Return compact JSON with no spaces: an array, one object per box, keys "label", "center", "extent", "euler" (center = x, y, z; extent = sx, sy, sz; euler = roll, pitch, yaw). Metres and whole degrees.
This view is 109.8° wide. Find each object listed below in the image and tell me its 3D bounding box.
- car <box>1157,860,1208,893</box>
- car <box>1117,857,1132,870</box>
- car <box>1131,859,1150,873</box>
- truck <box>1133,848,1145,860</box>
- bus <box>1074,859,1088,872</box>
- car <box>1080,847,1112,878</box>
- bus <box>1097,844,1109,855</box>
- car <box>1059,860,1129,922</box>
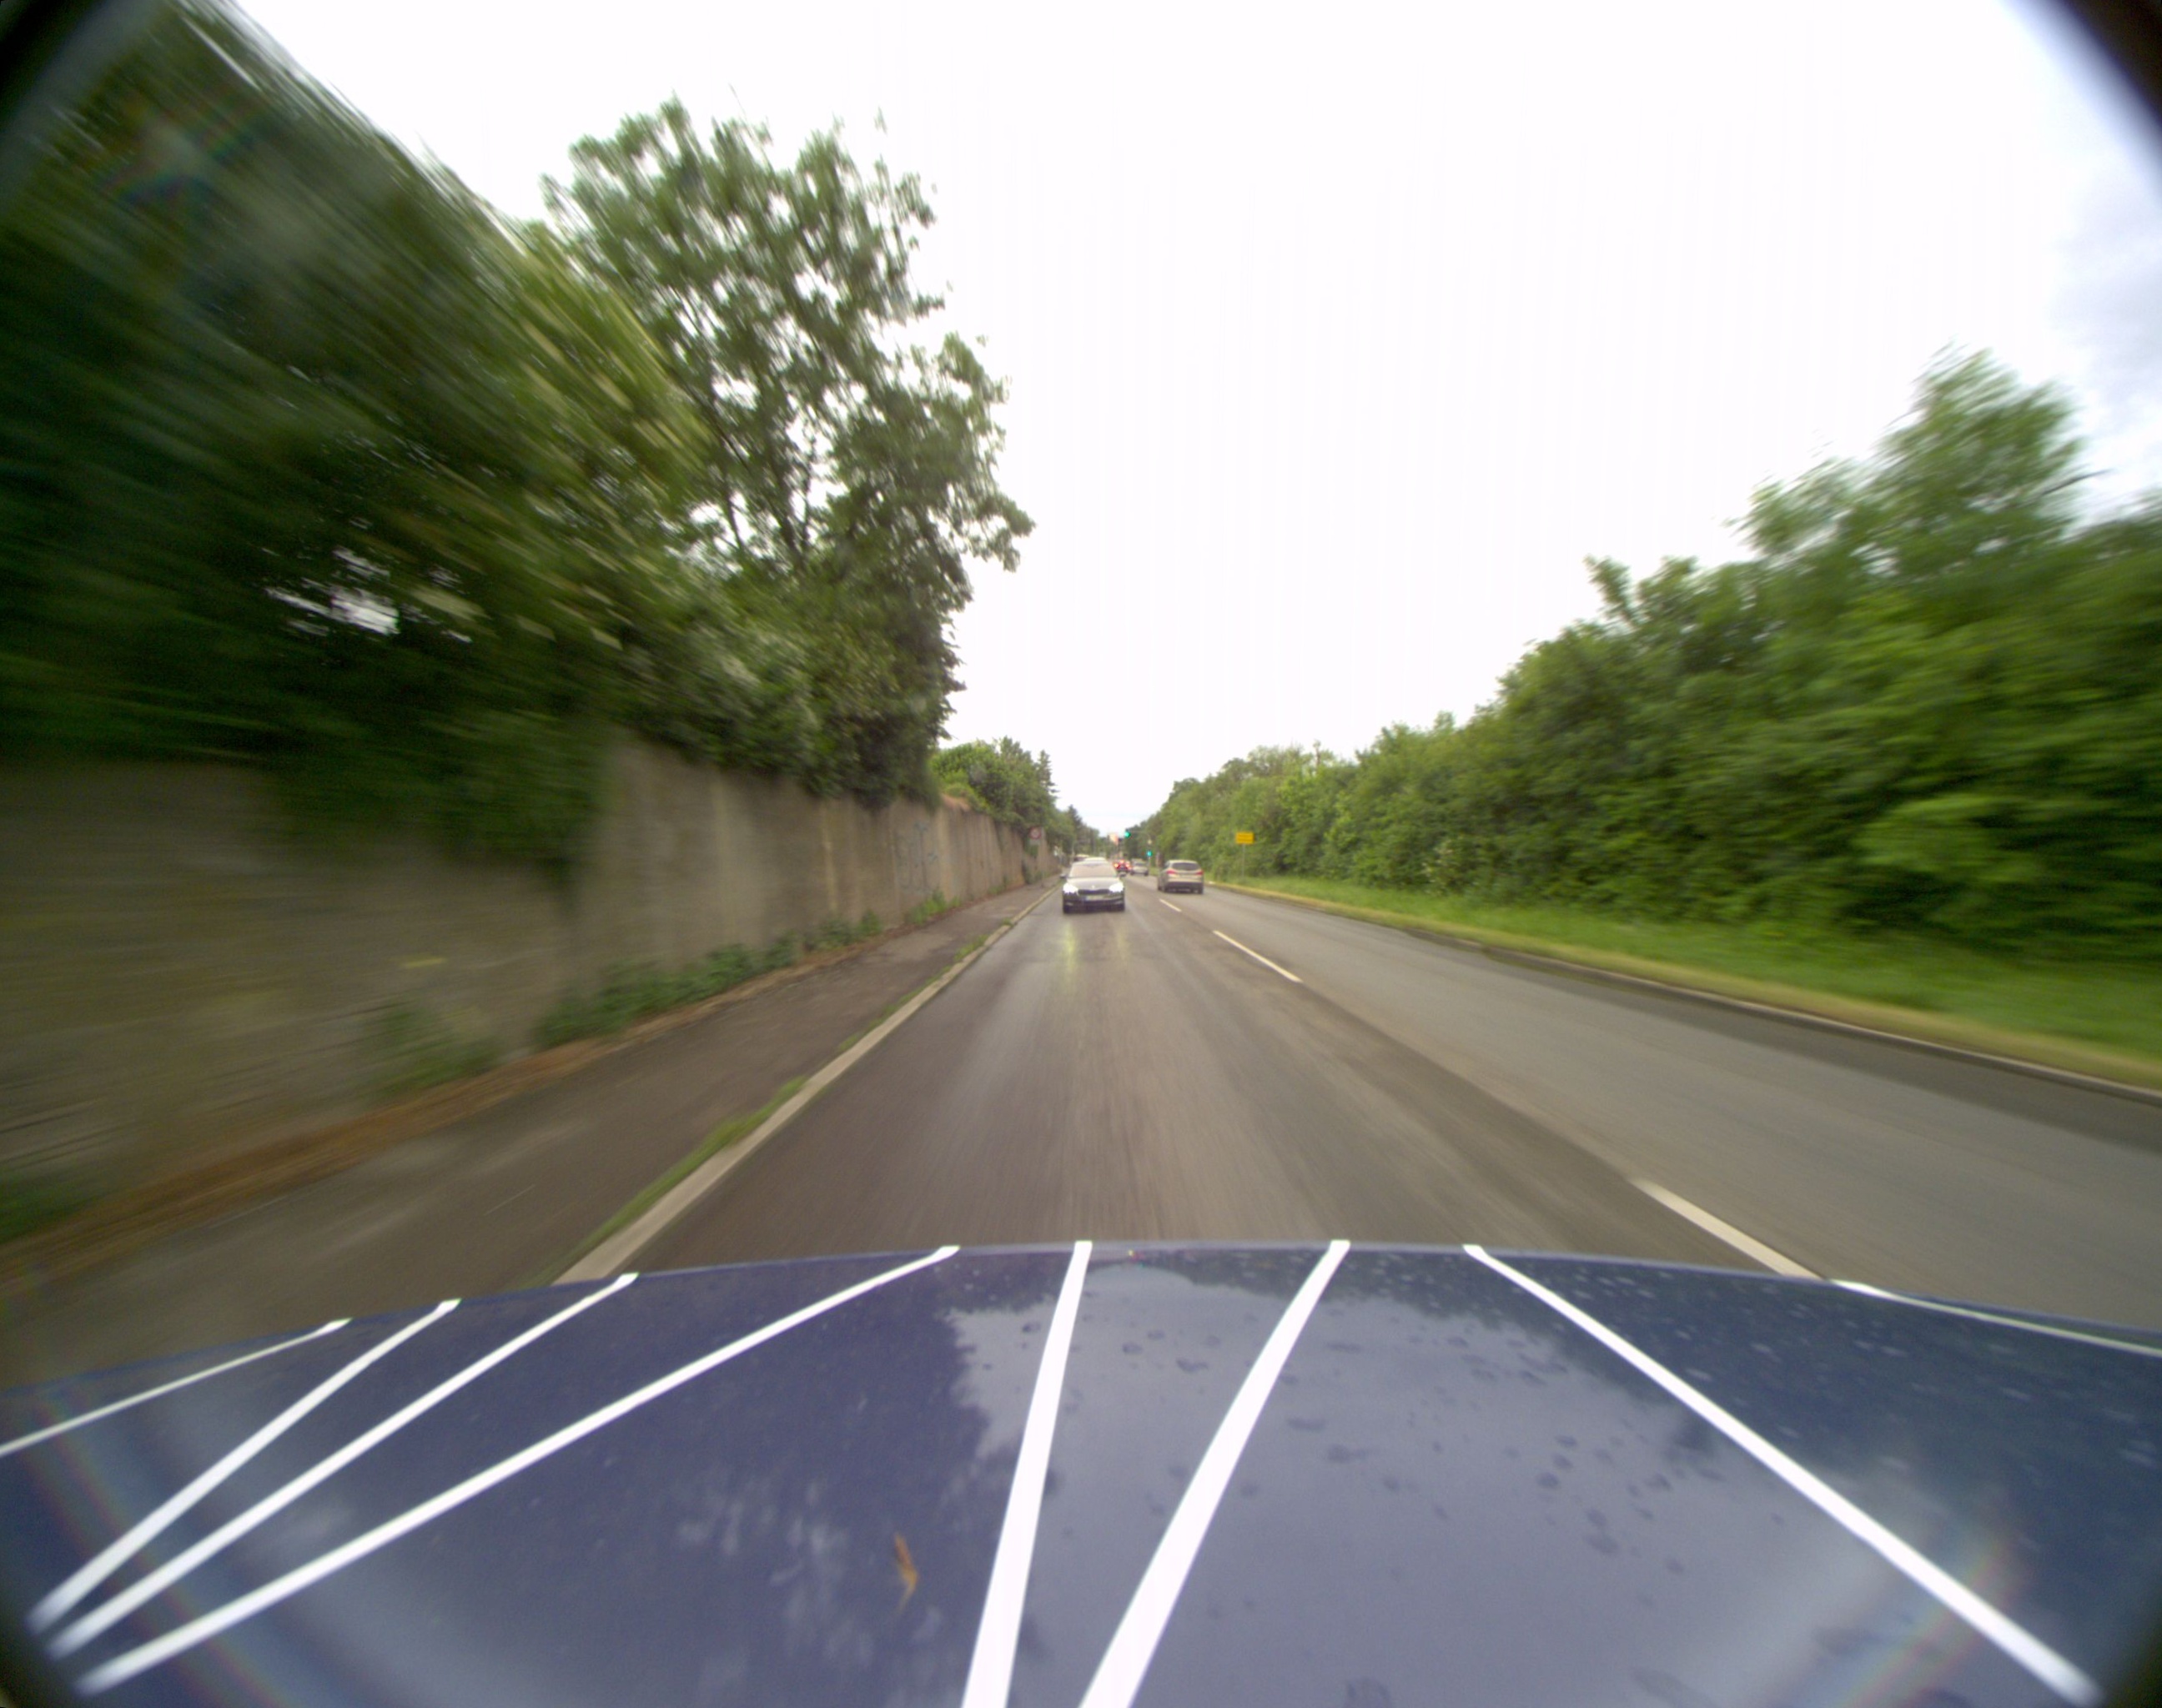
[{"label":"car","center":[4.570,0.972,34.707],"extent":[1.830,1.411,4.320],"euler":[0,0,1]},{"label":"car","center":[5.650,1.181,98.877],"extent":[1.737,1.584,4.281],"euler":[1,0,-1]},{"label":"car","center":[6.195,1.214,79.626],"extent":[1.806,1.423,4.179],"euler":[1,0,1]},{"label":"truck","center":[11.984,0.025,156.646],"extent":[2.479,2.494,5.640],"euler":[1,0,5]},{"label":"bus","center":[-0.007,1.751,117.034],"extent":[1.998,1.812,4.486],"euler":[1,0,1]},{"label":"car","center":[0.836,0.450,44.116],"extent":[1.704,1.724,3.999],"euler":[-1,1,0]},{"label":"bus","center":[7.008,-1.277,240.295],"extent":[3.175,3.241,8.216],"euler":[1,0,7]},{"label":"car","center":[0.355,0.952,21.298],"extent":[1.675,1.477,4.215],"euler":[-3,0,1]}]
